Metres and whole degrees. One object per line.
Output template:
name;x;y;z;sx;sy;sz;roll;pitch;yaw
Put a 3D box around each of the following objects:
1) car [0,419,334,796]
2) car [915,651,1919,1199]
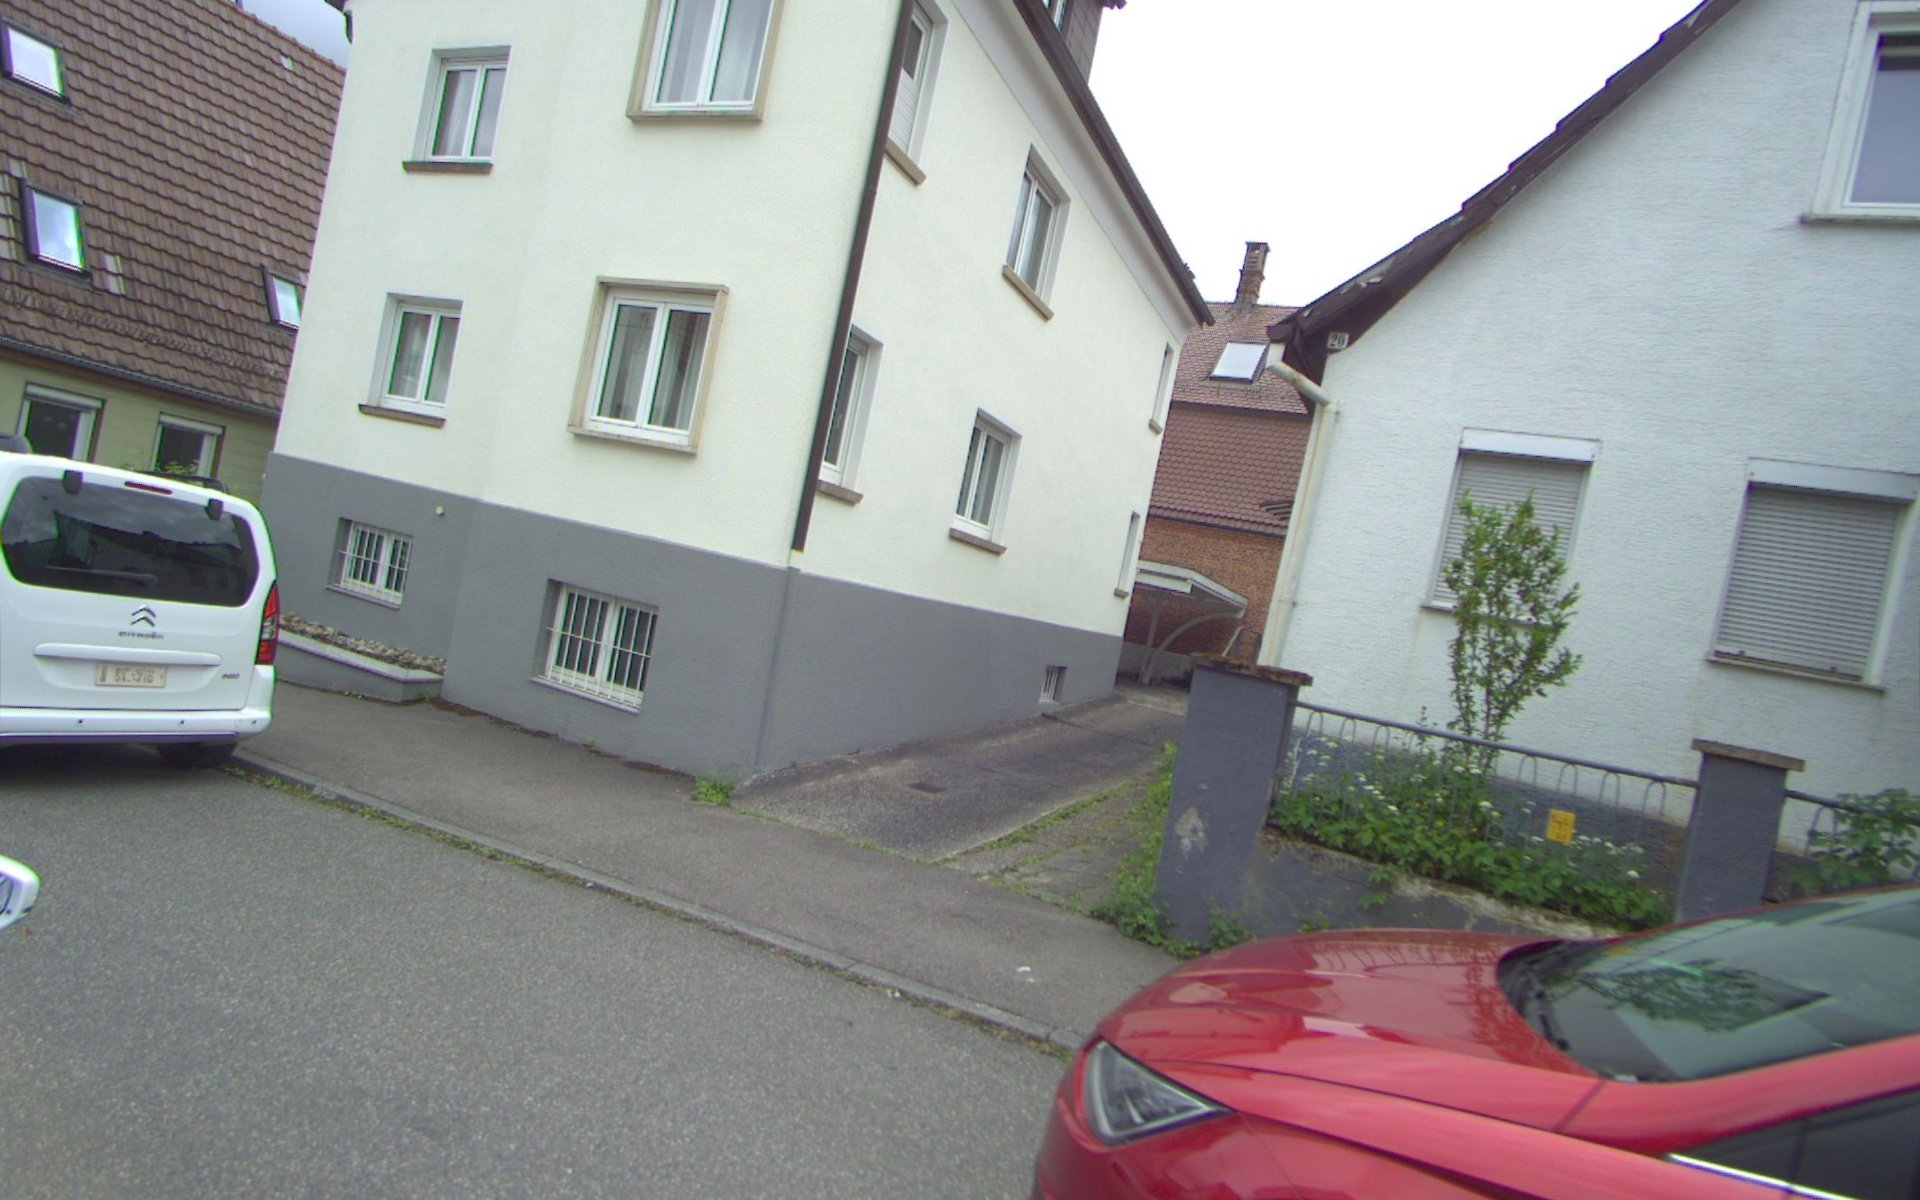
car;-6.402;-0.128;6.331;4.225;1.834;1.843;8;-3;22
car;1.987;1.128;1.670;3.787;1.467;1.684;7;-3;30
